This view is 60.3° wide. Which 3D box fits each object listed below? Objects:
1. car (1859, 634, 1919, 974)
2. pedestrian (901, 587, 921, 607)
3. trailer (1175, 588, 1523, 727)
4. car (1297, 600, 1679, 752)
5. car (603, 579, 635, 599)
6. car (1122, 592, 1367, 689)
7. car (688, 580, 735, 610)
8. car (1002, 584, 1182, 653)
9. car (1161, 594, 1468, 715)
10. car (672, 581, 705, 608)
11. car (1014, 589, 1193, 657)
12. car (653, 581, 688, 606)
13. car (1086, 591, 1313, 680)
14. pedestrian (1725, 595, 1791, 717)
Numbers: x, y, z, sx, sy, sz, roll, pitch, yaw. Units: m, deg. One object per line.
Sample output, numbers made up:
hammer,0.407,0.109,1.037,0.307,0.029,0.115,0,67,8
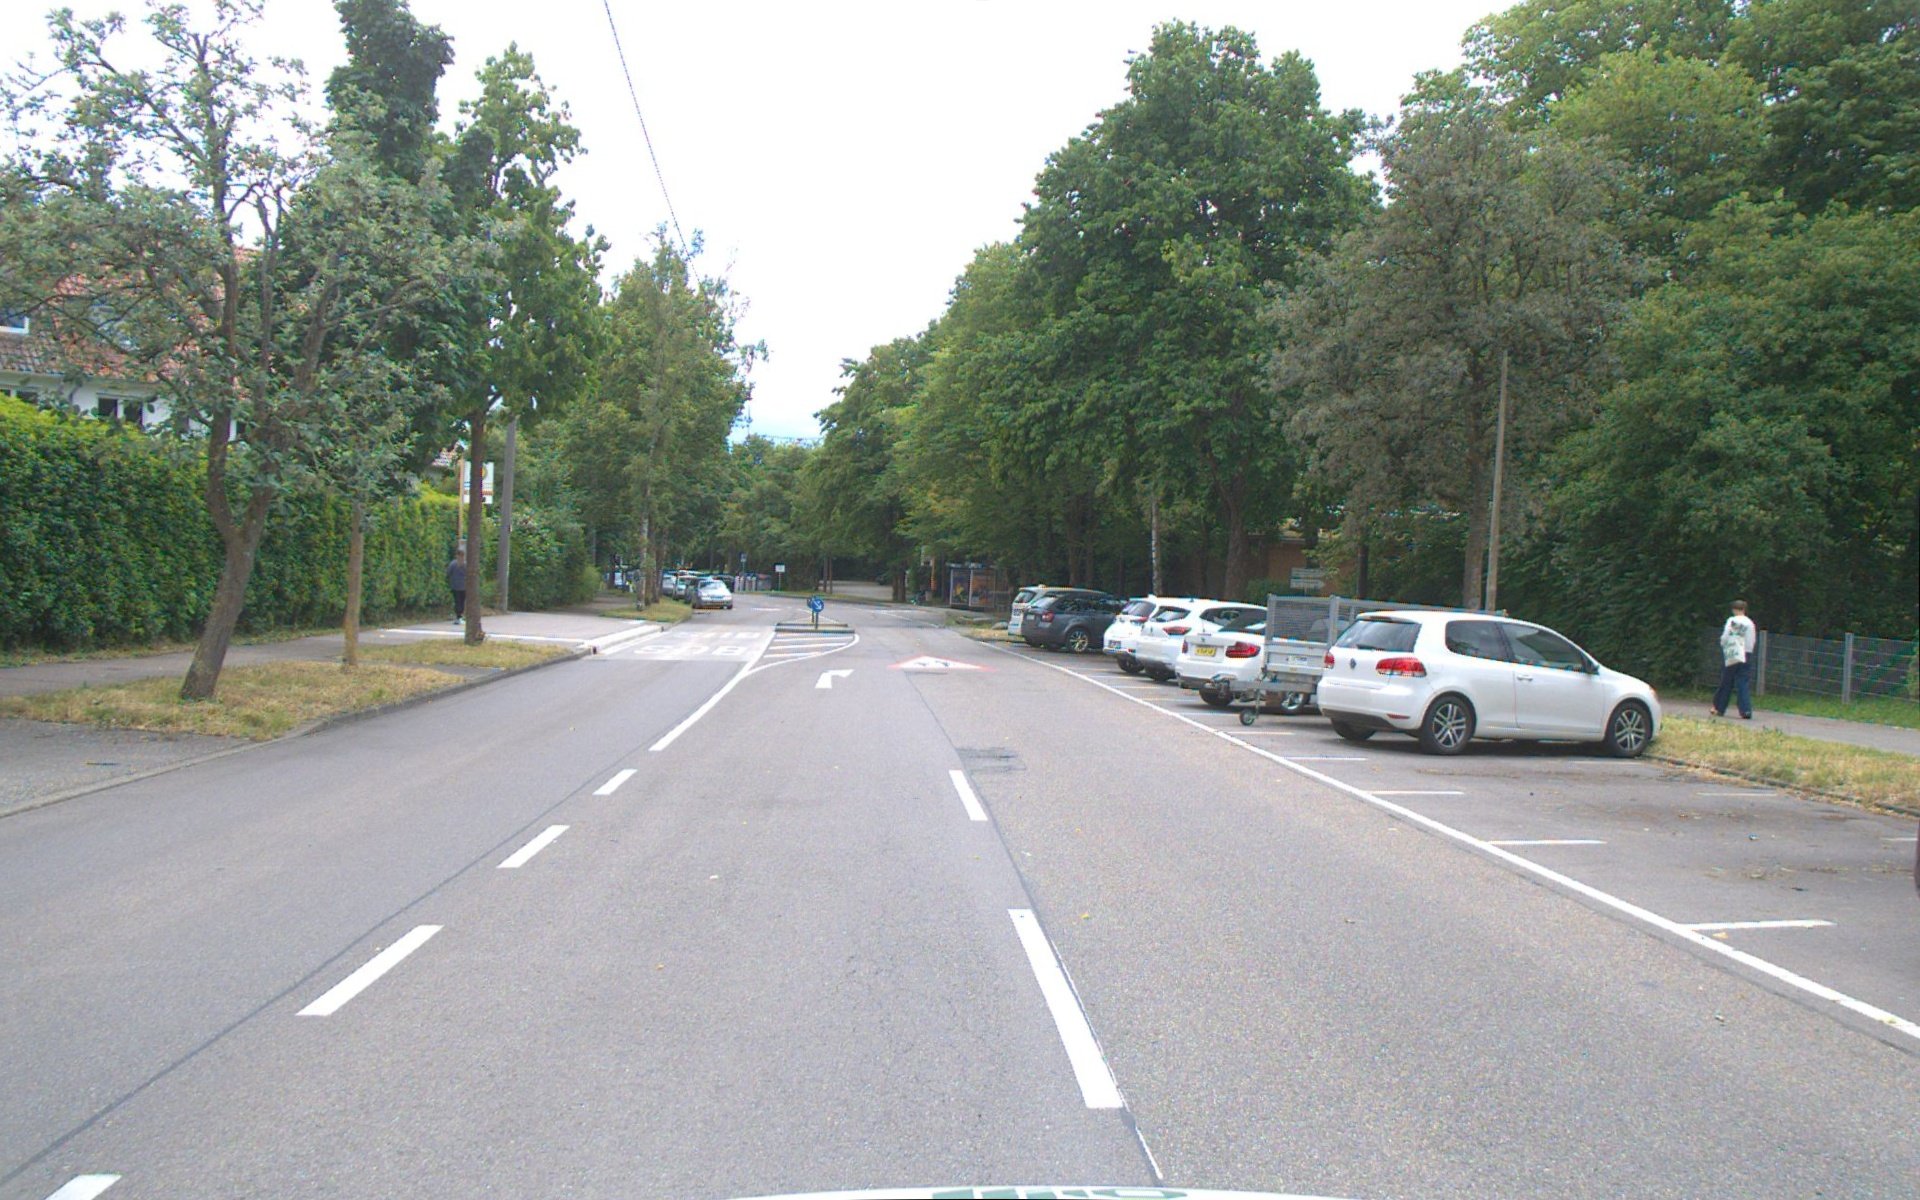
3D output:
car,6.069,0.955,7.475,3.797,1.459,1.701,3,-2,-27
pedestrian,-2.954,-0.197,99.224,1.046,1.203,0.577,1,0,-17
trailer,4.815,0.711,20.498,3.928,1.579,1.649,2,0,-20
car,5.904,0.852,18.457,3.939,1.489,1.776,3,0,-27
car,-28.190,-0.947,136.649,1.781,1.590,4.236,-2,2,-23
car,5.012,0.722,29.084,3.939,1.489,1.781,3,0,-27
car,-12.574,-0.271,83.437,1.708,1.441,4.451,0,1,-17
car,3.524,0.492,44.324,4.393,1.613,1.900,3,0,-15
car,4.999,0.773,23.300,3.939,1.489,1.835,3,0,-27
car,-16.561,-0.334,100.714,1.706,1.606,4.126,0,1,-14
car,3.585,0.567,41.507,4.066,1.489,1.790,3,0,-16
car,-19.560,-0.451,111.732,1.836,1.565,4.207,1,0,-17
car,4.608,0.683,31.794,3.939,1.489,1.850,3,0,-27
pedestrian,11.298,0.780,23.440,0.677,1.672,0.779,2,0,17
